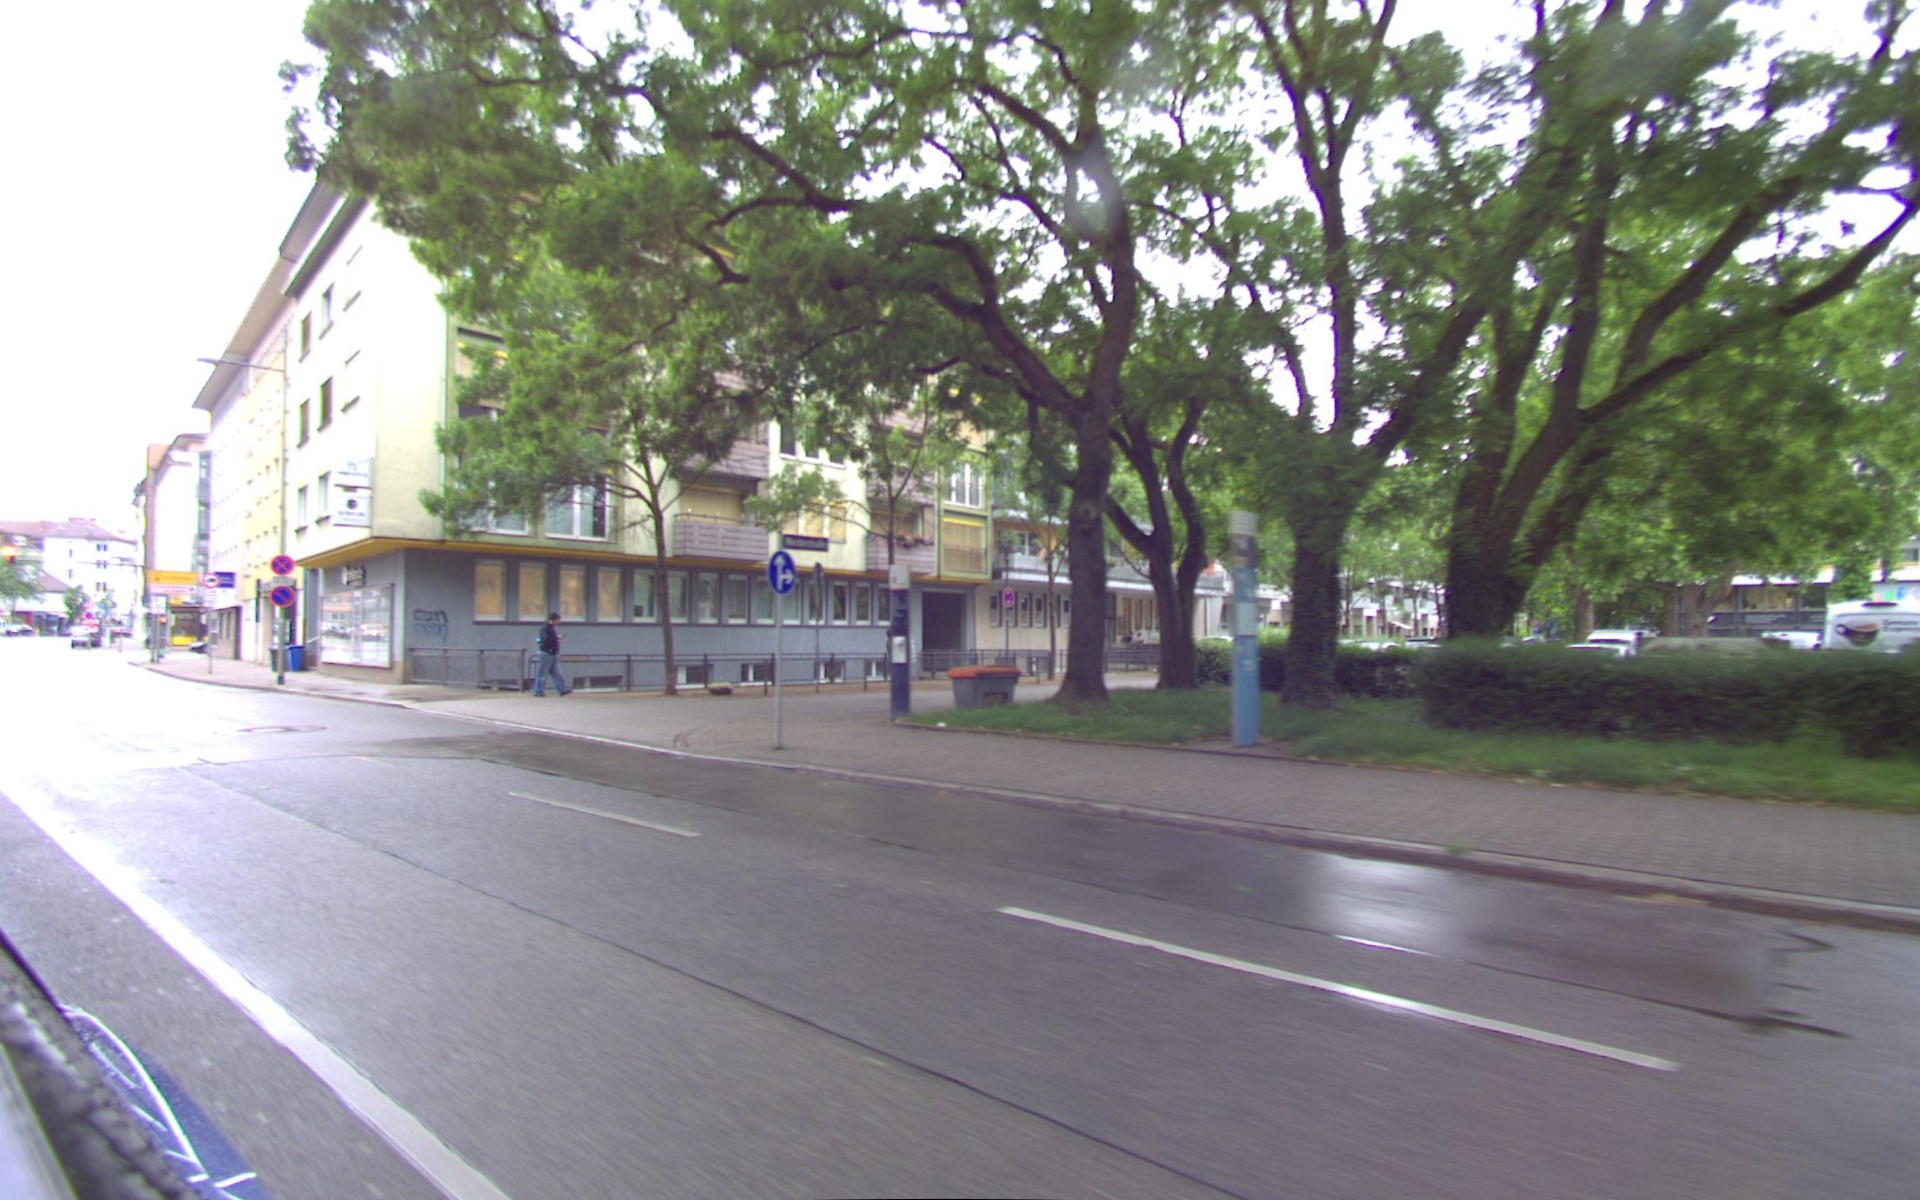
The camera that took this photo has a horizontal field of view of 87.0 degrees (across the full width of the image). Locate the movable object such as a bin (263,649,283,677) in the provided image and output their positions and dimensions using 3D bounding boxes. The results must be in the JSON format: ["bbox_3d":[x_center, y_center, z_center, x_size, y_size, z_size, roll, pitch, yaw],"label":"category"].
[{"bbox_3d":[-26.215,2.408,38.619,0.510,1.008,0.524,-3,0,-42],"label":"movable object such as a bin"}]

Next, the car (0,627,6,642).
[{"bbox_3d":[-112.909,4.031,118.062,1.987,1.778,4.771,3,-4,-39],"label":"car"}]

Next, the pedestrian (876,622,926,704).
[{"bbox_3d":[-1.423,1.501,24.498,0.906,1.939,0.820,2,-3,-43],"label":"pedestrian"}]

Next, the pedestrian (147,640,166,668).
[{"bbox_3d":[-47.625,3.190,59.972,0.773,1.600,0.675,-1,-1,-28],"label":"pedestrian"}]

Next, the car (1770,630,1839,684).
[{"bbox_3d":[31.039,2.079,37.202,1.802,1.838,3.946,-2,-4,40],"label":"car"}]

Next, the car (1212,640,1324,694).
[{"bbox_3d":[9.140,1.922,29.939,1.863,1.475,3.592,-2,-3,41],"label":"car"}]

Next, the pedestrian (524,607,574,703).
[{"bbox_3d":[-8.911,1.187,21.969,0.770,2.029,0.753,0,-2,-3],"label":"pedestrian"}]

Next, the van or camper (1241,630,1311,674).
[{"bbox_3d":[15.897,2.622,50.795,1.825,2.029,4.576,1,-2,38],"label":"van or camper"}]

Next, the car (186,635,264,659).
[{"bbox_3d":[-54.546,3.480,75.145,1.758,1.580,4.499,-2,-1,44],"label":"car"}]

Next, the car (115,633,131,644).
[{"bbox_3d":[-121.514,5.544,146.913,1.567,1.539,3.496,2,-3,-36],"label":"car"}]

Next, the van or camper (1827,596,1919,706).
[{"bbox_3d":[22.375,1.201,24.382,2.099,2.450,4.280,-2,-3,42],"label":"van or camper"}]

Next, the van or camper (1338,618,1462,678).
[{"bbox_3d":[19.652,2.098,44.882,2.561,2.420,8.535,-2,-3,41],"label":"van or camper"}]

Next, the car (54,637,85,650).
[{"bbox_3d":[-125.664,6.185,142.840,1.722,1.778,4.065,2,-3,-19],"label":"car"}]

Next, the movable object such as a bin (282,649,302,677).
[{"bbox_3d":[-24.498,2.301,37.113,0.522,0.968,0.435,-3,0,-42],"label":"movable object such as a bin"}]

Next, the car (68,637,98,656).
[{"bbox_3d":[-76.664,4.073,88.454,1.807,1.634,4.007,2,-3,-39],"label":"car"}]

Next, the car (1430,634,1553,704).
[{"bbox_3d":[13.764,1.719,26.106,1.863,1.638,3.995,-2,-3,42],"label":"car"}]

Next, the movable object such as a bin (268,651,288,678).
[{"bbox_3d":[-25.359,2.389,37.639,0.521,0.935,0.426,-3,0,-42],"label":"movable object such as a bin"}]

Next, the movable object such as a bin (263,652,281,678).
[{"bbox_3d":[-25.830,2.432,38.013,0.458,0.935,0.429,-3,0,-42],"label":"movable object such as a bin"}]
